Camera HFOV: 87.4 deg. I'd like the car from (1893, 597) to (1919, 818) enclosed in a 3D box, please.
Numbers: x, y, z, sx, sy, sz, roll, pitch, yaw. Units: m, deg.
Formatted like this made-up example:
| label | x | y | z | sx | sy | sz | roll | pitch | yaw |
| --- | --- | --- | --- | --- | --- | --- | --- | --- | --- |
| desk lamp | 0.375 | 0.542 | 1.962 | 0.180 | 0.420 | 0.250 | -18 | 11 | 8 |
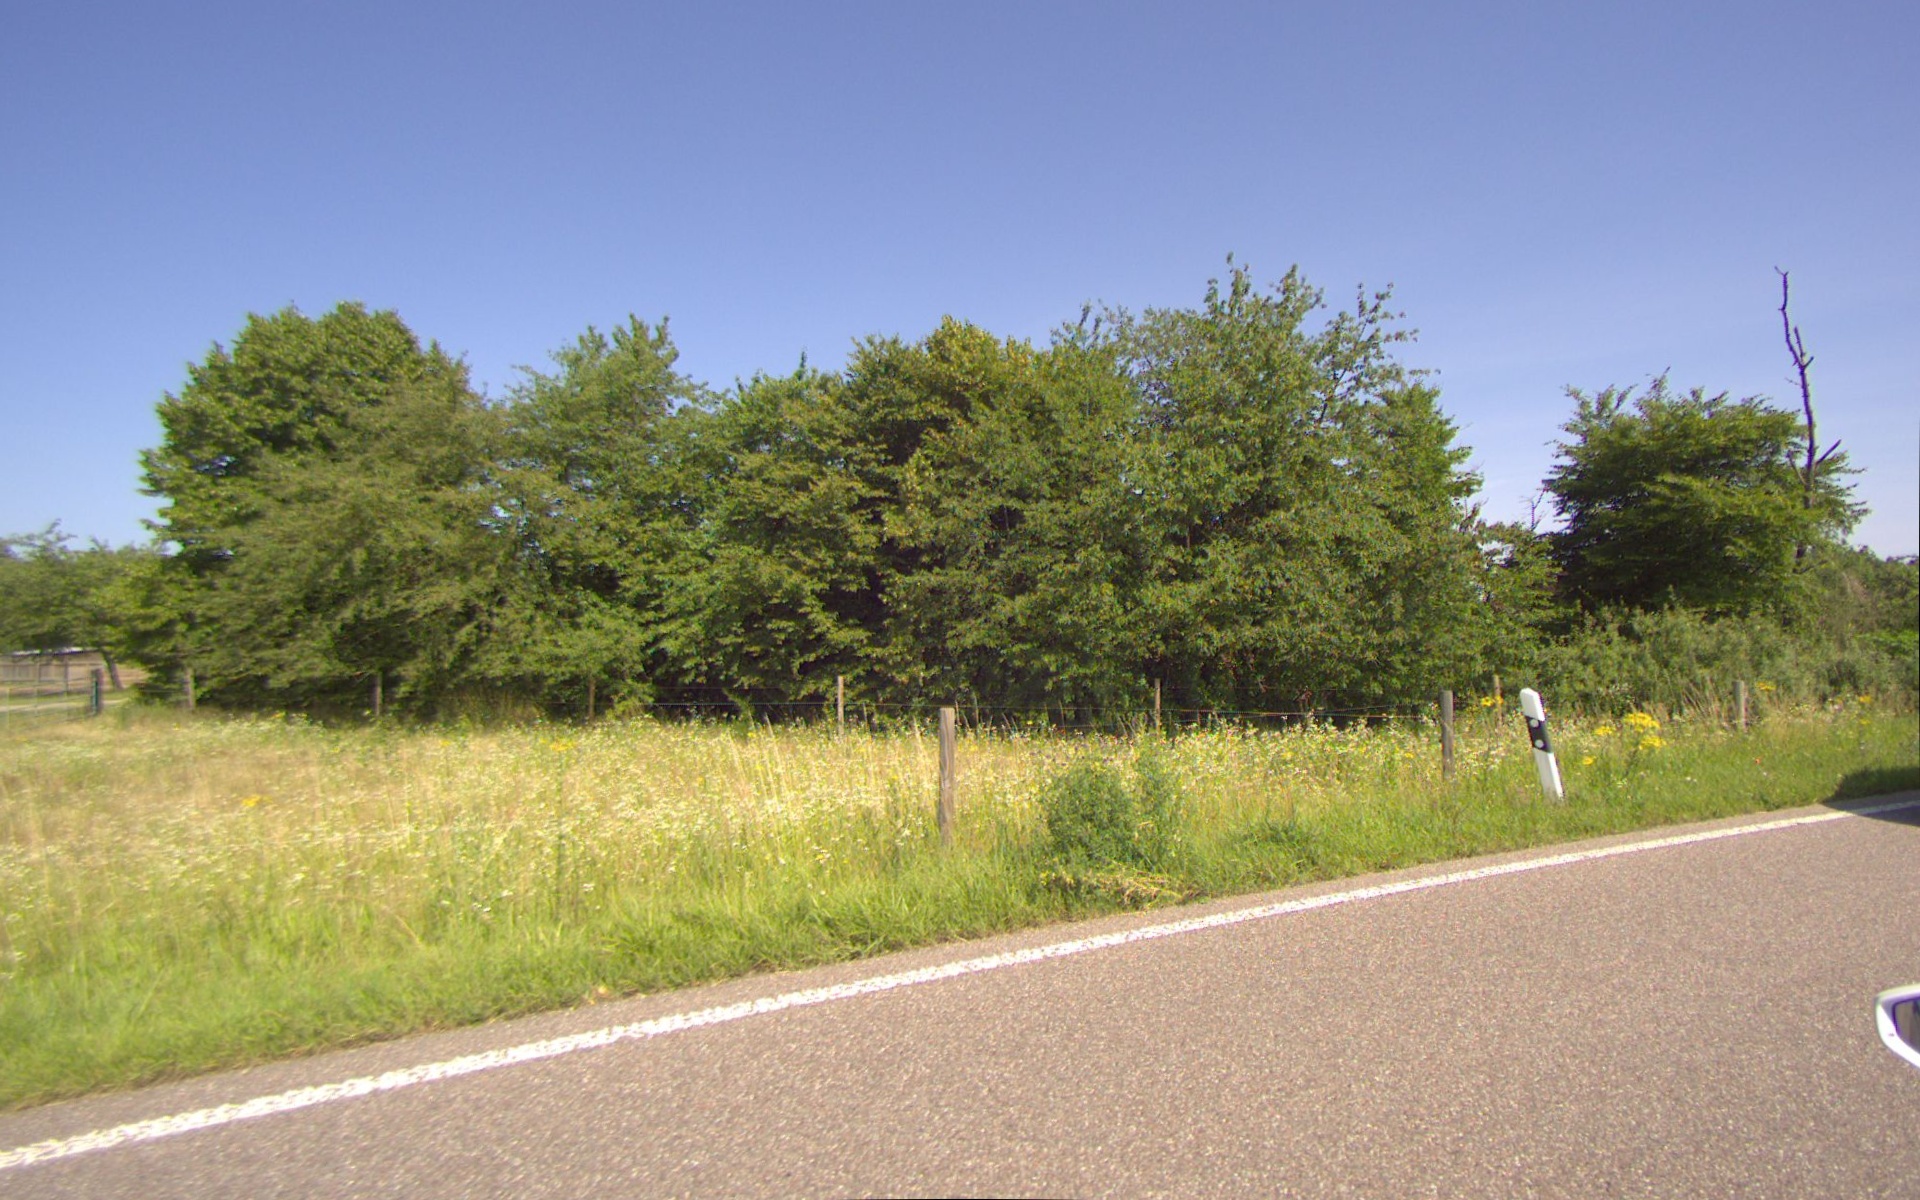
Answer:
| label | x | y | z | sx | sy | sz | roll | pitch | yaw |
| --- | --- | --- | --- | --- | --- | --- | --- | --- | --- |
| car | 9.336 | 0.843 | 7.722 | 4.104 | 1.653 | 1.779 | 1 | -1 | -25 |
